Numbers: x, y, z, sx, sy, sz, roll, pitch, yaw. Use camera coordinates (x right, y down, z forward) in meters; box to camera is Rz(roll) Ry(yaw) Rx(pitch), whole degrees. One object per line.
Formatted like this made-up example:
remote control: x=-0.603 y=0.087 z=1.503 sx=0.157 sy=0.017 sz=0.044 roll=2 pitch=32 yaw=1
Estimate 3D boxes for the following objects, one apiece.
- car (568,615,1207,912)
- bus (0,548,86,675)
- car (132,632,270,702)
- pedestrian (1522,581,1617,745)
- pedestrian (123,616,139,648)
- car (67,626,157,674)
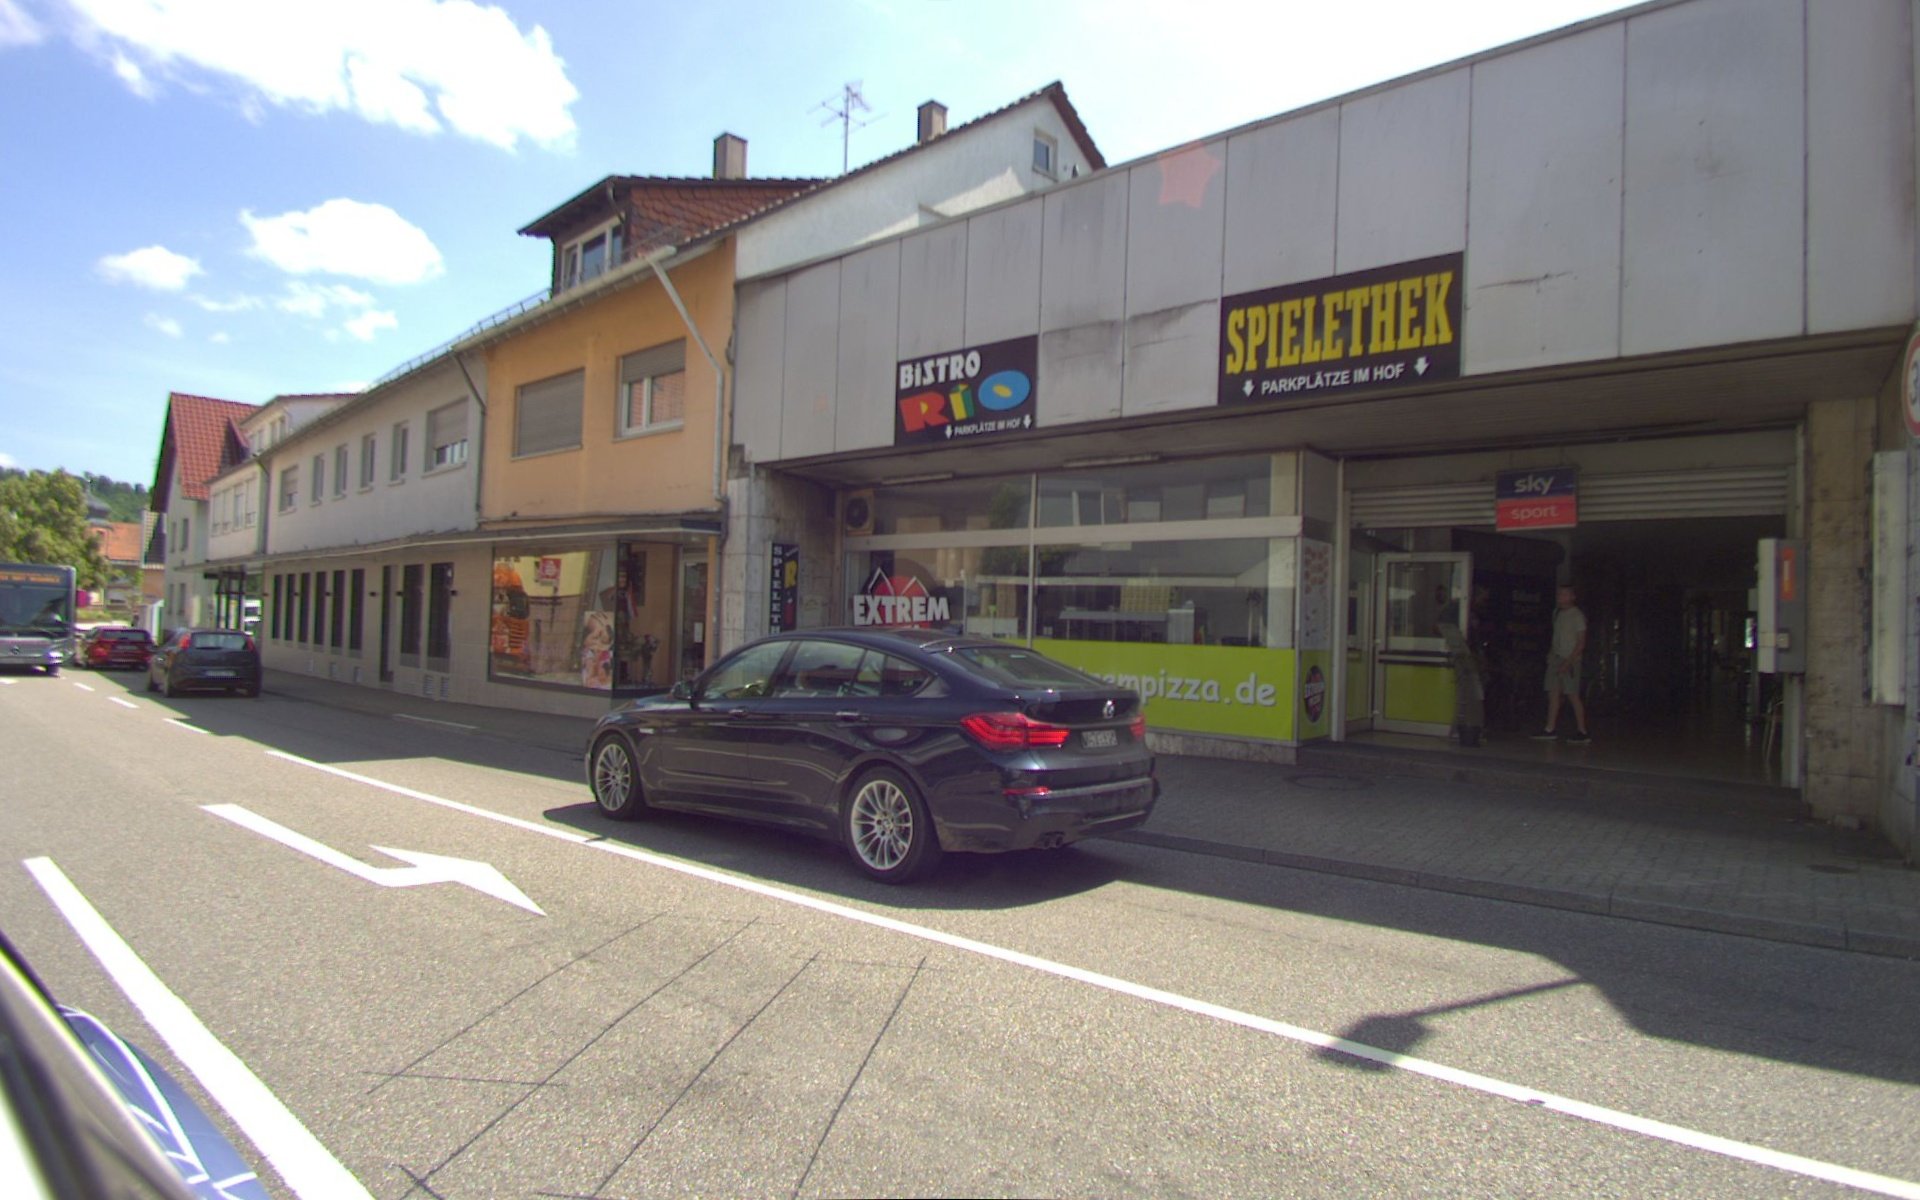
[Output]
car: x=-0.806 y=0.925 z=7.439 sx=4.794 sy=1.498 sz=1.778 roll=-1 pitch=-5 yaw=41
bus: x=-31.278 y=0.490 z=32.261 sx=19.028 sy=3.229 sz=2.821 roll=-2 pitch=-4 yaw=42
car: x=-16.874 y=1.464 z=22.444 sx=3.819 sy=1.434 sz=1.699 roll=-2 pitch=-5 yaw=42
pedestrian: x=7.082 y=0.717 z=11.786 sx=0.687 sy=1.842 sz=0.742 roll=0 pitch=-2 yaw=10
pedestrian: x=-46.531 y=1.776 z=56.795 sx=0.475 sy=1.777 sz=0.468 roll=1 pitch=-2 yaw=22
car: x=-27.550 y=1.628 z=32.830 sx=4.285 sy=1.419 sz=1.698 roll=-2 pitch=-6 yaw=44
